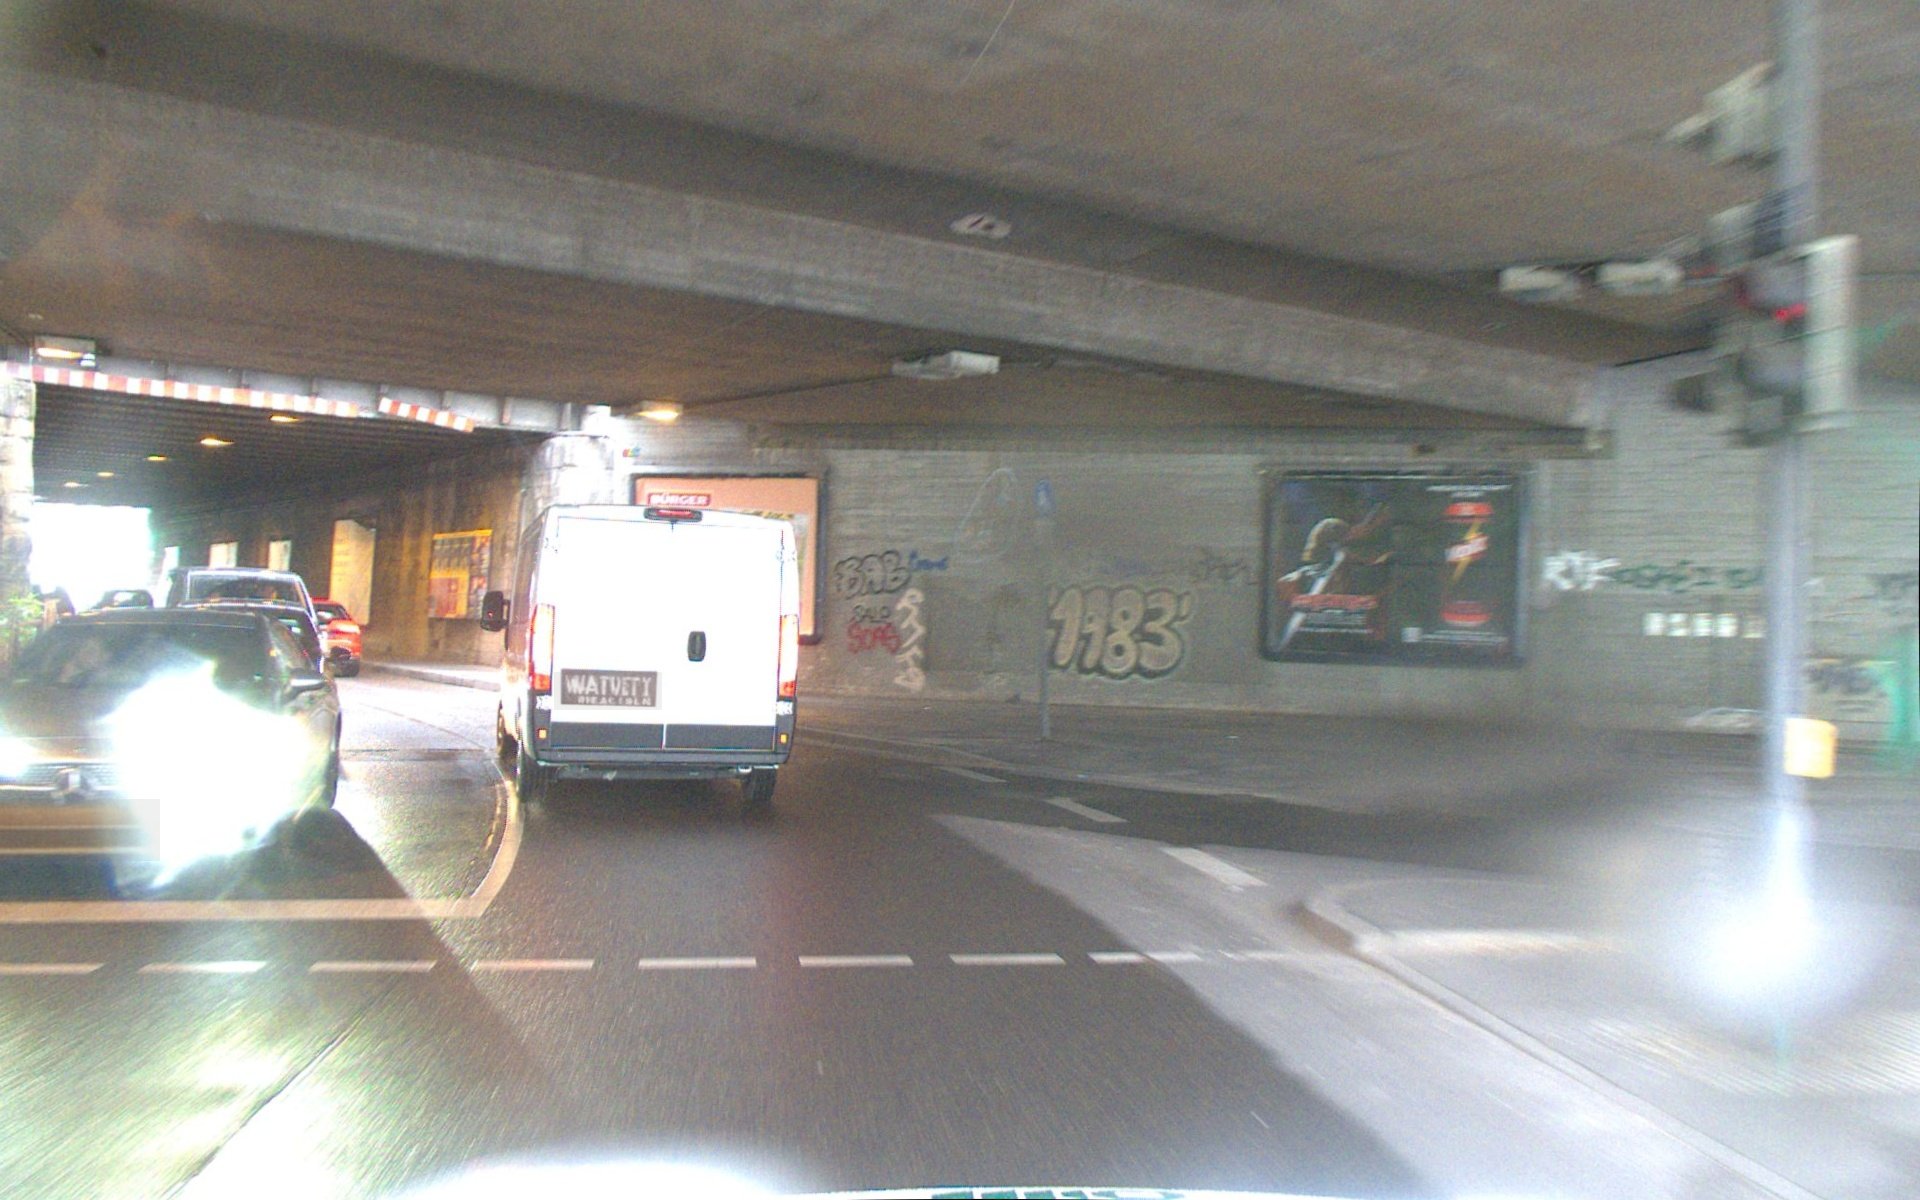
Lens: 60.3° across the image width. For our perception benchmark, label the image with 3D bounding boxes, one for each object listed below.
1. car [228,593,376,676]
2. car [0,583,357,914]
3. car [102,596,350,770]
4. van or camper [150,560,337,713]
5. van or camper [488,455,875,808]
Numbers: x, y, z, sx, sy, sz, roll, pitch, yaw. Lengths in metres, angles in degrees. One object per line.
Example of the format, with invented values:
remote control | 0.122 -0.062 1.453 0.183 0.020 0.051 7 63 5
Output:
car | -12.667 0.618 31.702 1.820 1.463 4.054 1 0 -34
car | -4.910 0.692 10.004 1.961 1.557 4.482 1 0 -15
car | -7.138 0.721 16.381 1.965 1.490 4.078 1 0 -22
van or camper | -10.213 0.467 23.344 1.971 1.901 5.090 1 0 -29
van or camper | -2.621 0.297 14.257 2.656 2.459 4.879 1 -2 -17
